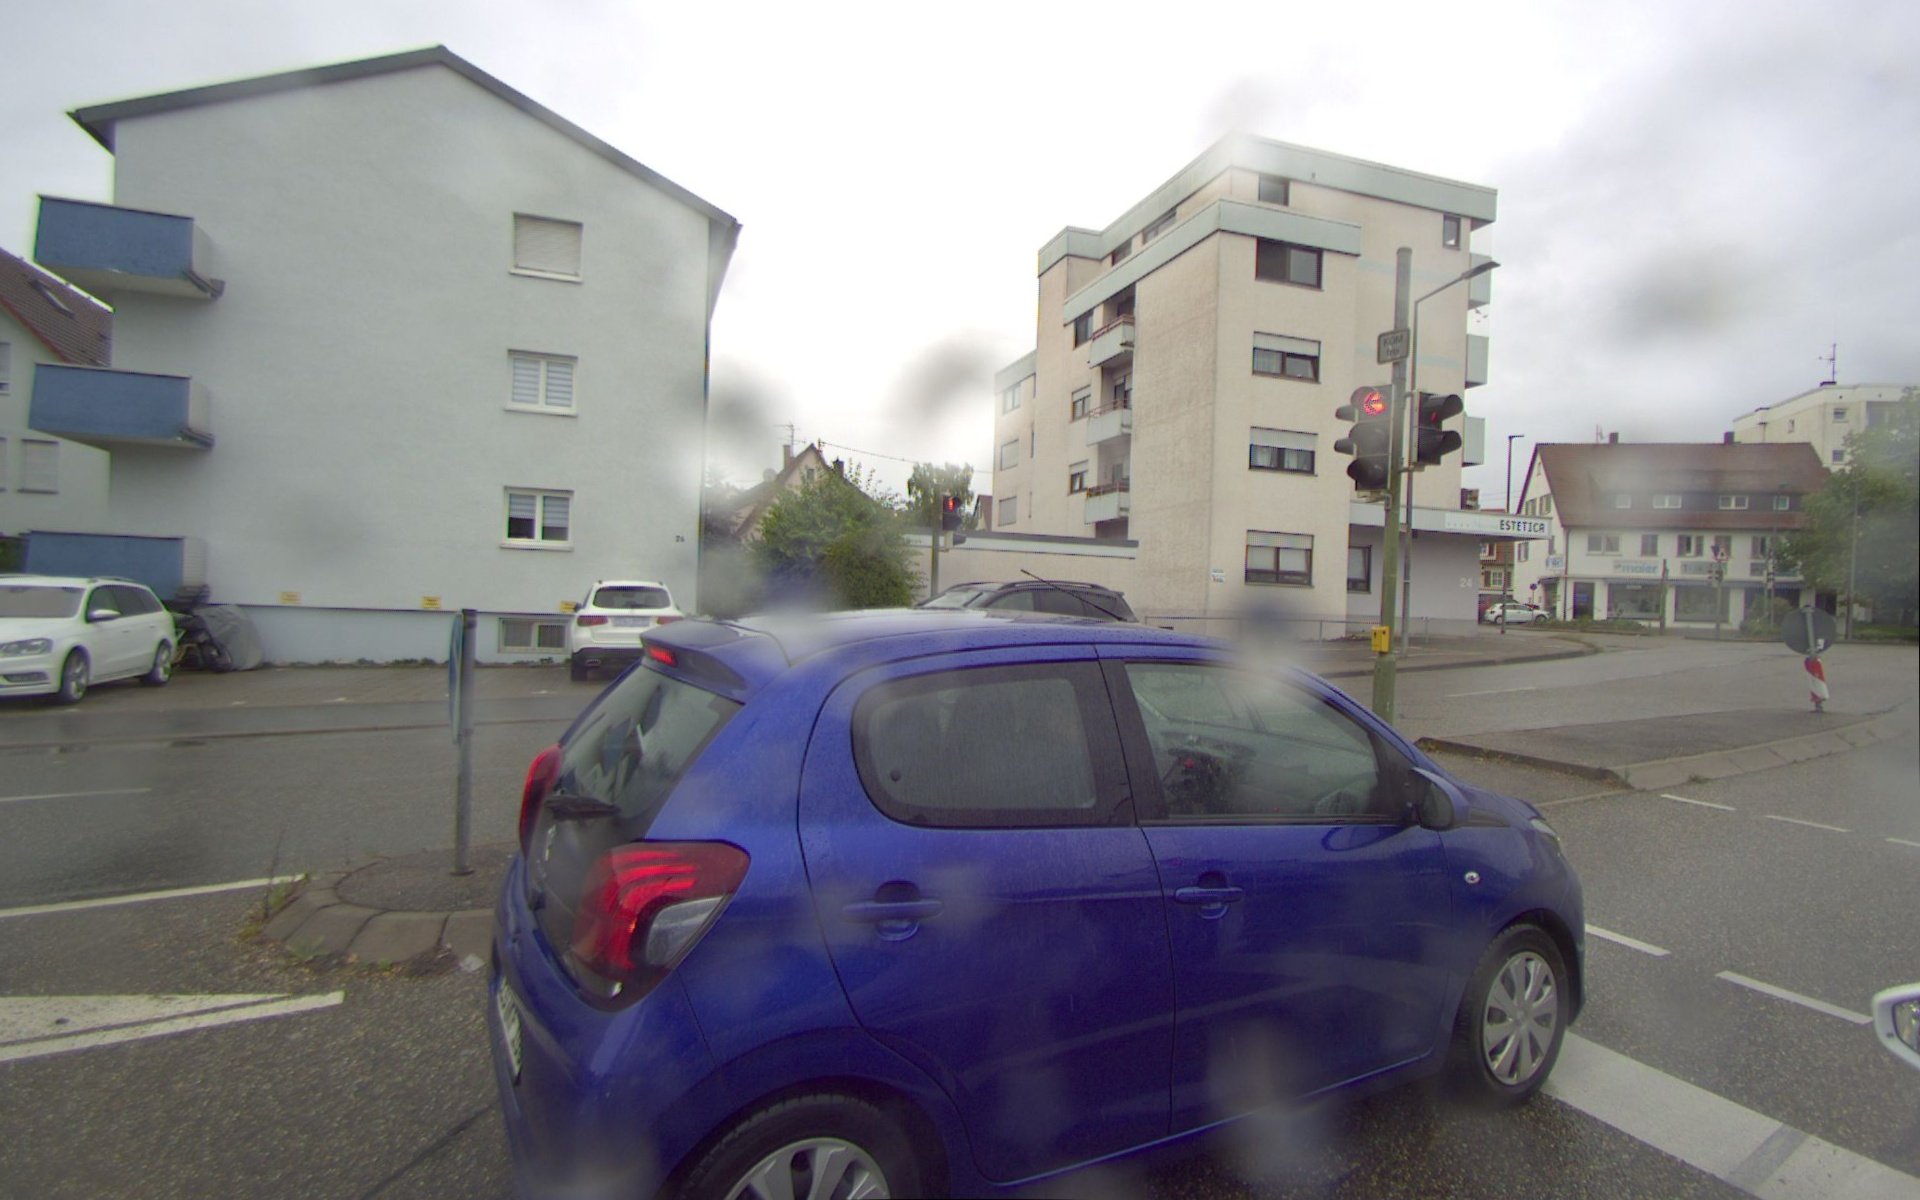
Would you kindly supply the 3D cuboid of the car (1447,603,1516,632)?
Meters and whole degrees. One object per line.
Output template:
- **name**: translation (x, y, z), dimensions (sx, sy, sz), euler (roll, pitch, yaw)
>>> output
- **car**: translation (37.214, 1.239, 71.713), dimensions (3.987, 1.868, 1.889), euler (2, 0, 14)

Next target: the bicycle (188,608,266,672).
- **bicycle**: translation (-12.693, 0.686, 17.408), dimensions (1.053, 1.067, 0.345), euler (0, 1, -30)

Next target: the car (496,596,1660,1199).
- **car**: translation (0.470, 0.737, 3.087), dimensions (3.324, 1.432, 1.498), euler (1, 1, -30)

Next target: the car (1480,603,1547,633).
- **car**: translation (37.922, 1.234, 68.883), dimensions (3.611, 1.946, 1.889), euler (2, 0, 14)

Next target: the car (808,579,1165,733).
- **car**: translation (0.401, 0.625, 12.490), dimensions (4.140, 1.618, 1.868), euler (1, -1, -34)

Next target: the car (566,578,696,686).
- **car**: translation (-5.762, 0.507, 17.562), dimensions (1.884, 1.637, 3.982), euler (2, 0, -19)

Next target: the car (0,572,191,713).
- **car**: translation (-11.480, 0.453, 12.493), dimensions (1.854, 1.480, 4.732), euler (1, -1, -23)
